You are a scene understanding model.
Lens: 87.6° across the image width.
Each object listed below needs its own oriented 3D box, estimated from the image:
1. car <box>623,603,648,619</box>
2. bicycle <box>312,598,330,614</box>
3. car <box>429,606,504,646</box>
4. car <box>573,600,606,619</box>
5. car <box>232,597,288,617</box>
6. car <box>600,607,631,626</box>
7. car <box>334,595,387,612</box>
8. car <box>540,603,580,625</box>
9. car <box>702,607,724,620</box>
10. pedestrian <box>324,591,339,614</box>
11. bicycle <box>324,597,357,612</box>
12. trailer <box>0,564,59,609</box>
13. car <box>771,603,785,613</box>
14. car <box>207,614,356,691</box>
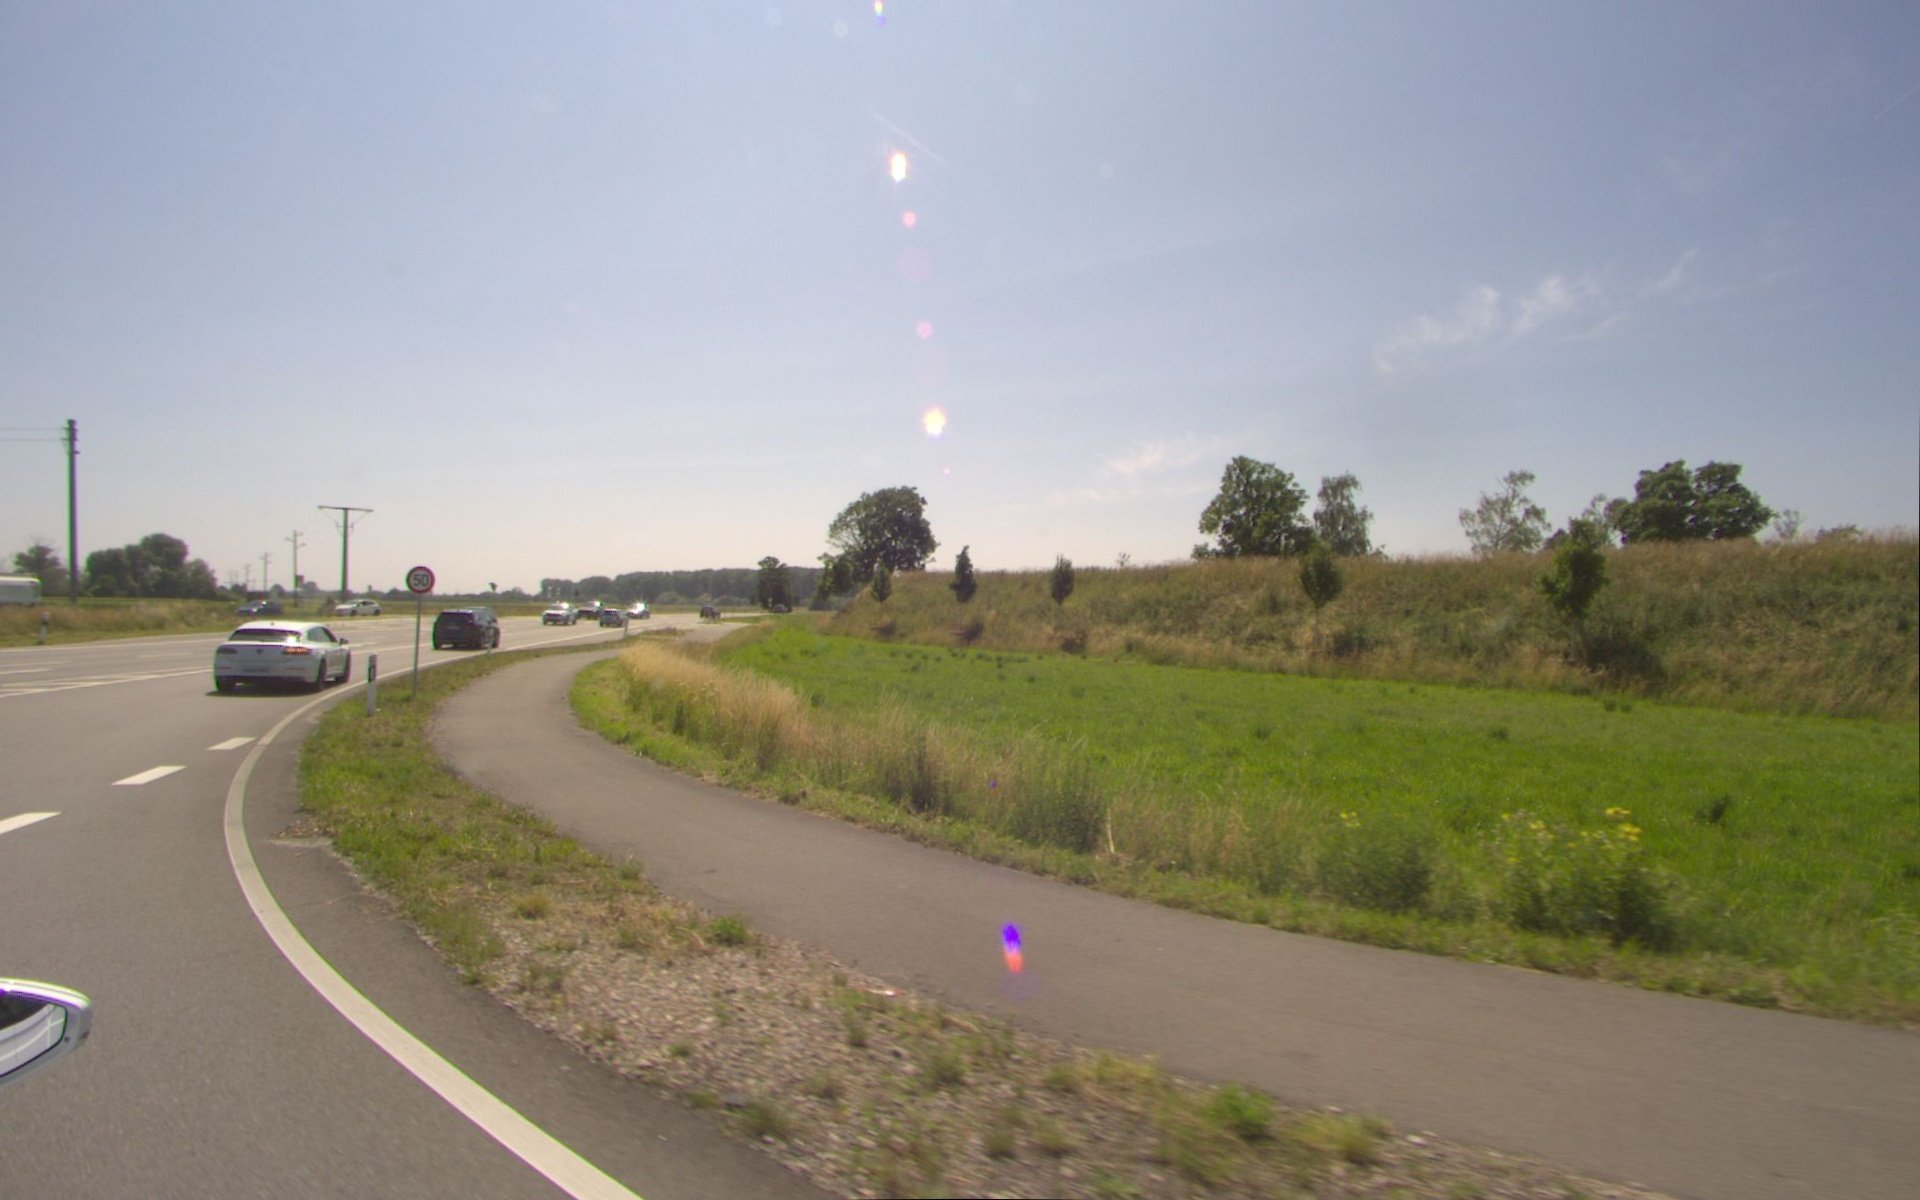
[{"bbox_3d":[-34.696,1.228,107.193,1.704,1.576,4.414,0,-2,-7],"label":"car"},{"bbox_3d":[-51.805,0.474,81.175,0.483,1.264,1.511,2,-1,-2],"label":"bicycle"},{"bbox_3d":[-21.332,1.162,43.450,1.905,1.637,4.375,1,-2,-12],"label":"car"},{"bbox_3d":[-35.919,0.957,97.159,2.046,1.746,4.414,0,-2,-7],"label":"car"},{"bbox_3d":[-53.162,0.532,76.100,1.647,1.405,3.839,3,-2,-4],"label":"car"},{"bbox_3d":[-28.192,1.388,82.070,1.771,1.447,4.092,0,-2,-9],"label":"car"},{"bbox_3d":[-53.755,0.303,89.869,1.665,1.349,4.035,2,-1,15],"label":"car"},{"bbox_3d":[-32.281,1.165,80.924,1.849,1.671,4.842,3,-2,-9],"label":"car"},{"bbox_3d":[-30.642,1.721,124.377,1.770,1.495,4.416,0,-2,-1],"label":"car"},{"bbox_3d":[-51.252,0.200,81.652,0.599,1.808,0.846,2,-1,-1],"label":"pedestrian"},{"bbox_3d":[-60.482,0.457,97.744,2.574,1.389,0.900,0,-2,-23],"label":"bicycle"},{"bbox_3d":[-54.145,-0.791,55.785,2.635,2.488,6.380,2,0,-7],"label":"trailer"},{"bbox_3d":[-30.245,1.386,166.449,1.770,1.541,3.883,-1,-1,-4],"label":"car"},{"bbox_3d":[-14.598,1.083,21.814,1.825,1.451,4.592,3,-2,-24],"label":"car"}]
